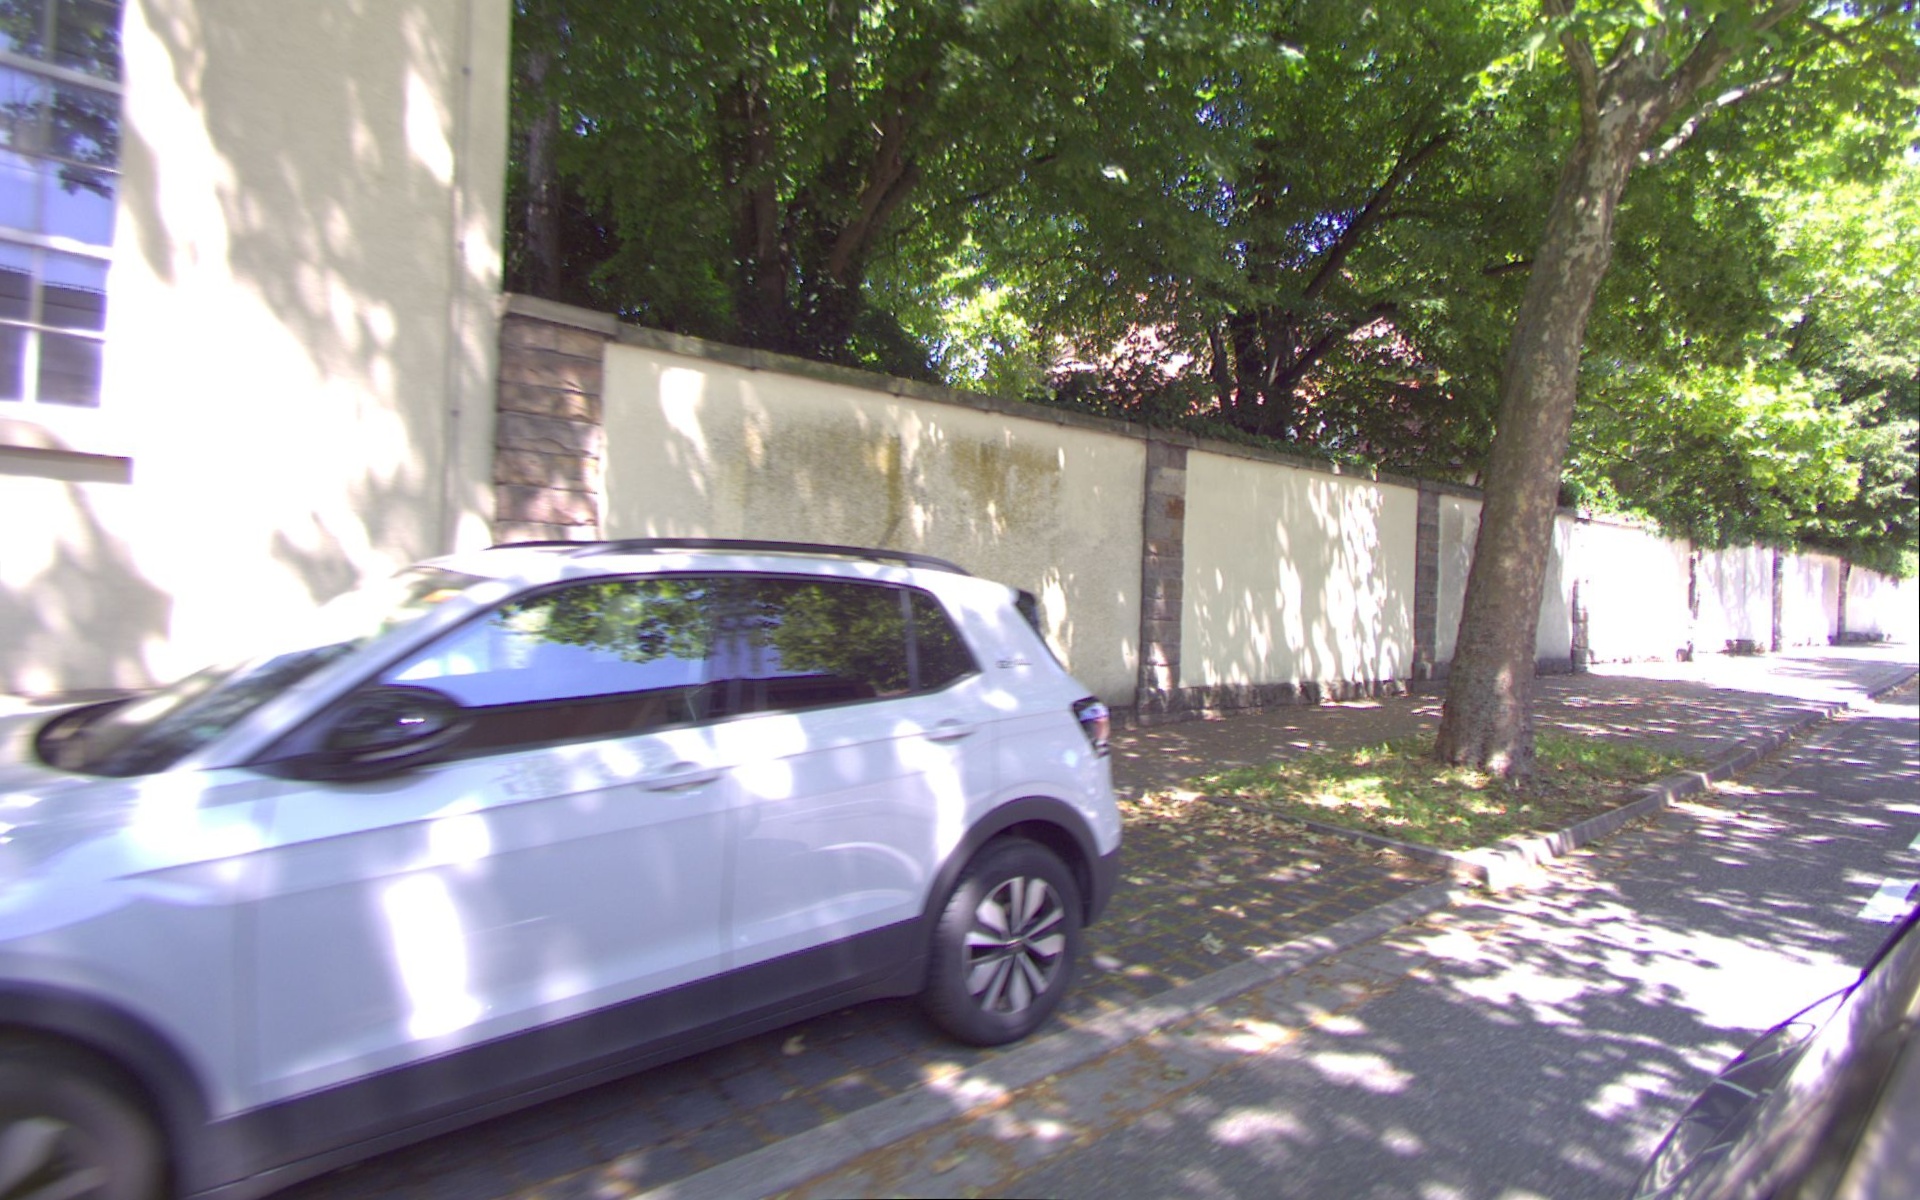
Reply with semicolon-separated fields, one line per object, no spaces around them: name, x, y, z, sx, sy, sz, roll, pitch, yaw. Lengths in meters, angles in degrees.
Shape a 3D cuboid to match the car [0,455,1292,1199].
car;-1.023;0.525;3.309;4.694;1.576;1.745;1;2;-40
